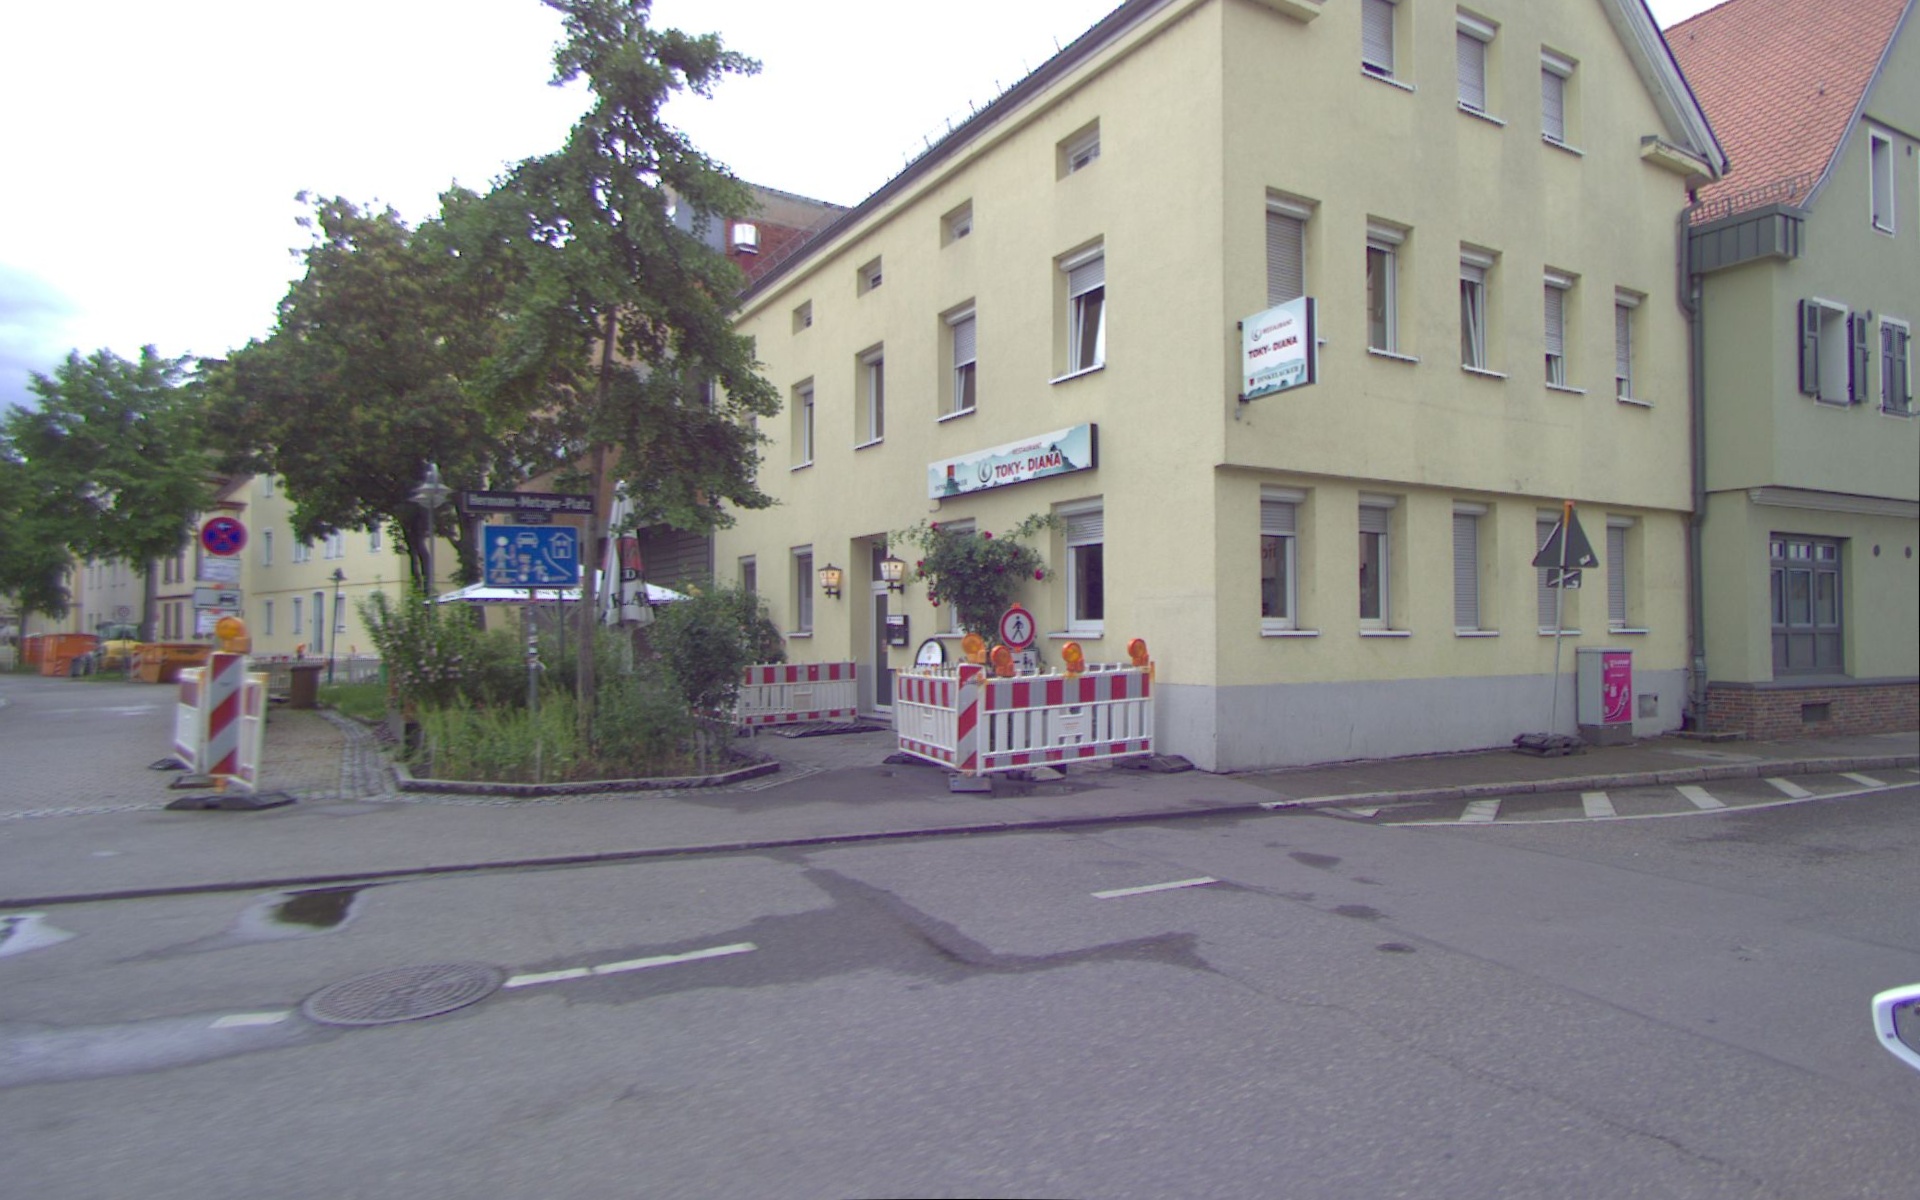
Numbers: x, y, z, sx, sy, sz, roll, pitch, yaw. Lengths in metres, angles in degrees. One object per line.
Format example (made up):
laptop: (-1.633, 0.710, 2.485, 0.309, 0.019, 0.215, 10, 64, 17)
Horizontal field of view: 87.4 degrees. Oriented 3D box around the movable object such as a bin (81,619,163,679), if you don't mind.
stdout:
movable object such as a bin: (-39.019, 2.280, 46.754, 3.125, 2.686, 1.996, -1, -3, 32)
